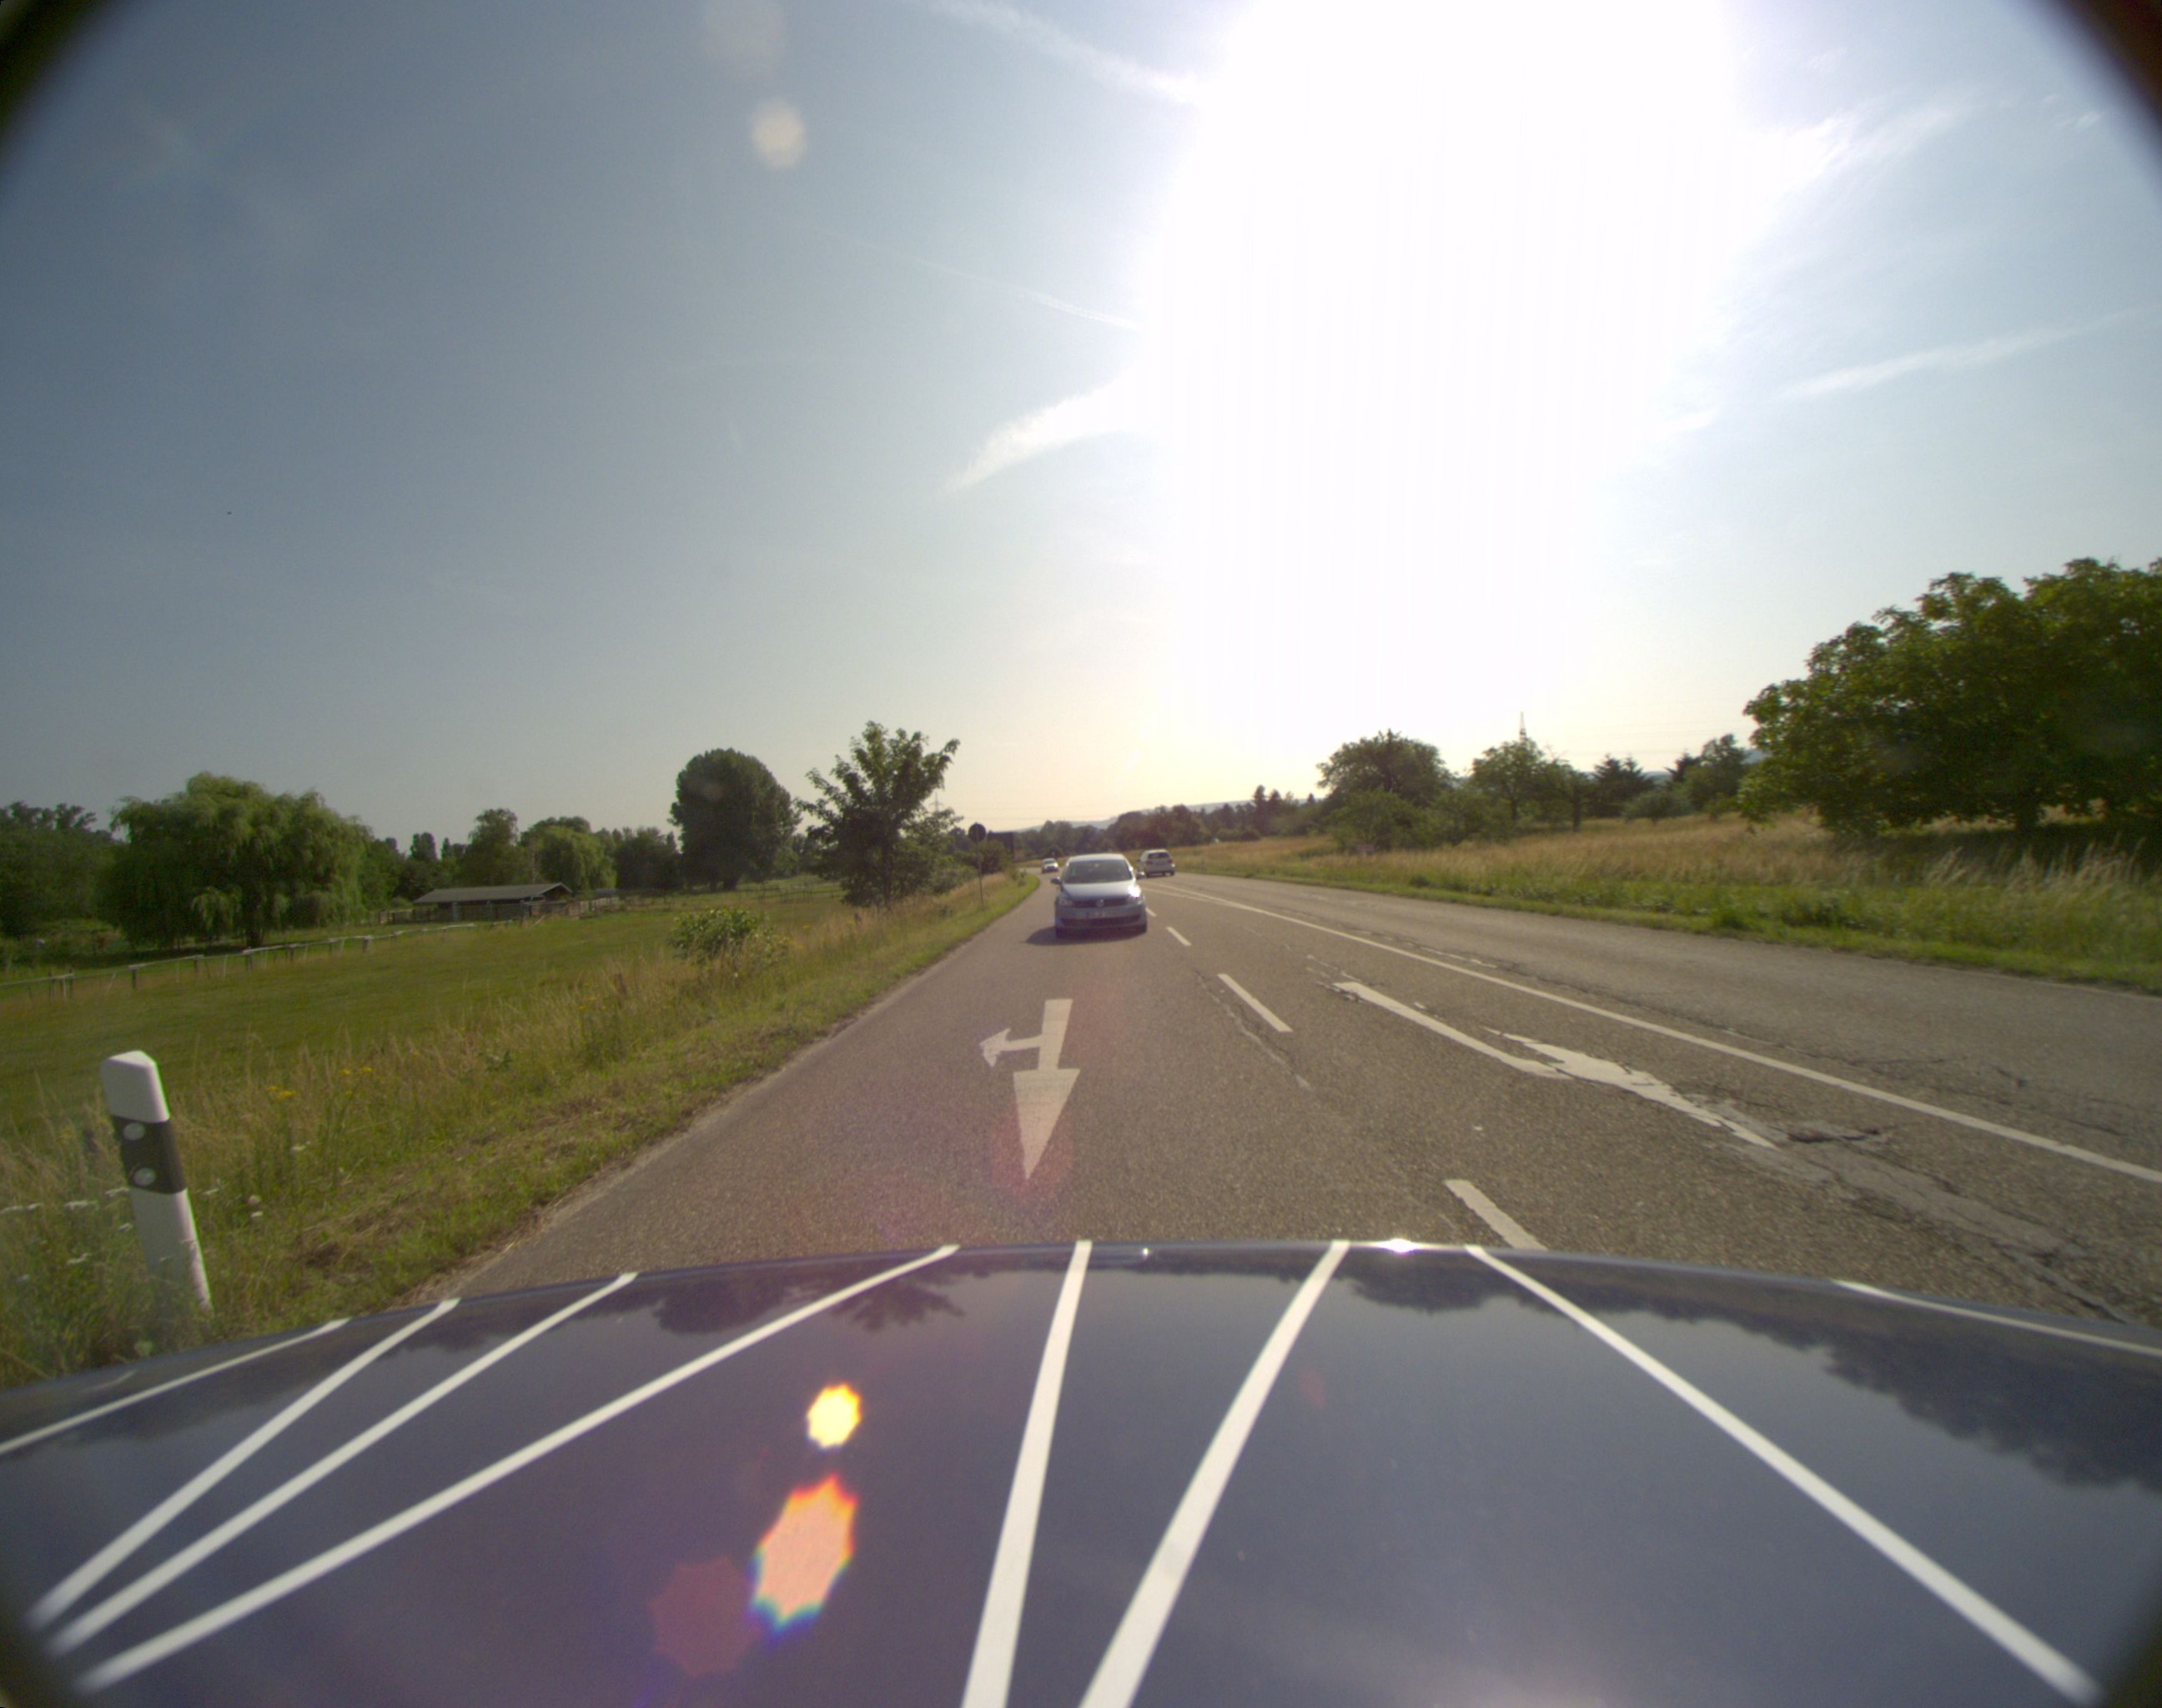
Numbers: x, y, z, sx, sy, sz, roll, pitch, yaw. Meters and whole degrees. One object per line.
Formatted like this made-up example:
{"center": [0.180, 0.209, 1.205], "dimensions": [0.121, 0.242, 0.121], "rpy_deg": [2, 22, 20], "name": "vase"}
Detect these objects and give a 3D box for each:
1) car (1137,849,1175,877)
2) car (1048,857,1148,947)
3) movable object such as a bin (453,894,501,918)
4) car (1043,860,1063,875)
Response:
{"center": [4.560, 0.514, 46.755], "dimensions": [1.817, 1.576, 4.224], "rpy_deg": [-2, 0, -1], "name": "car"}
{"center": [0.483, 0.880, 15.723], "dimensions": [1.717, 1.495, 4.095], "rpy_deg": [-3, 0, 5], "name": "car"}
{"center": [-64.907, 5.579, 81.726], "dimensions": [2.000, 2.181, 4.161], "rpy_deg": [-6, 0, -8], "name": "movable object such as a bin"}
{"center": [-3.263, 1.543, 87.815], "dimensions": [1.999, 1.570, 3.907], "rpy_deg": [-5, 0, -5], "name": "car"}
